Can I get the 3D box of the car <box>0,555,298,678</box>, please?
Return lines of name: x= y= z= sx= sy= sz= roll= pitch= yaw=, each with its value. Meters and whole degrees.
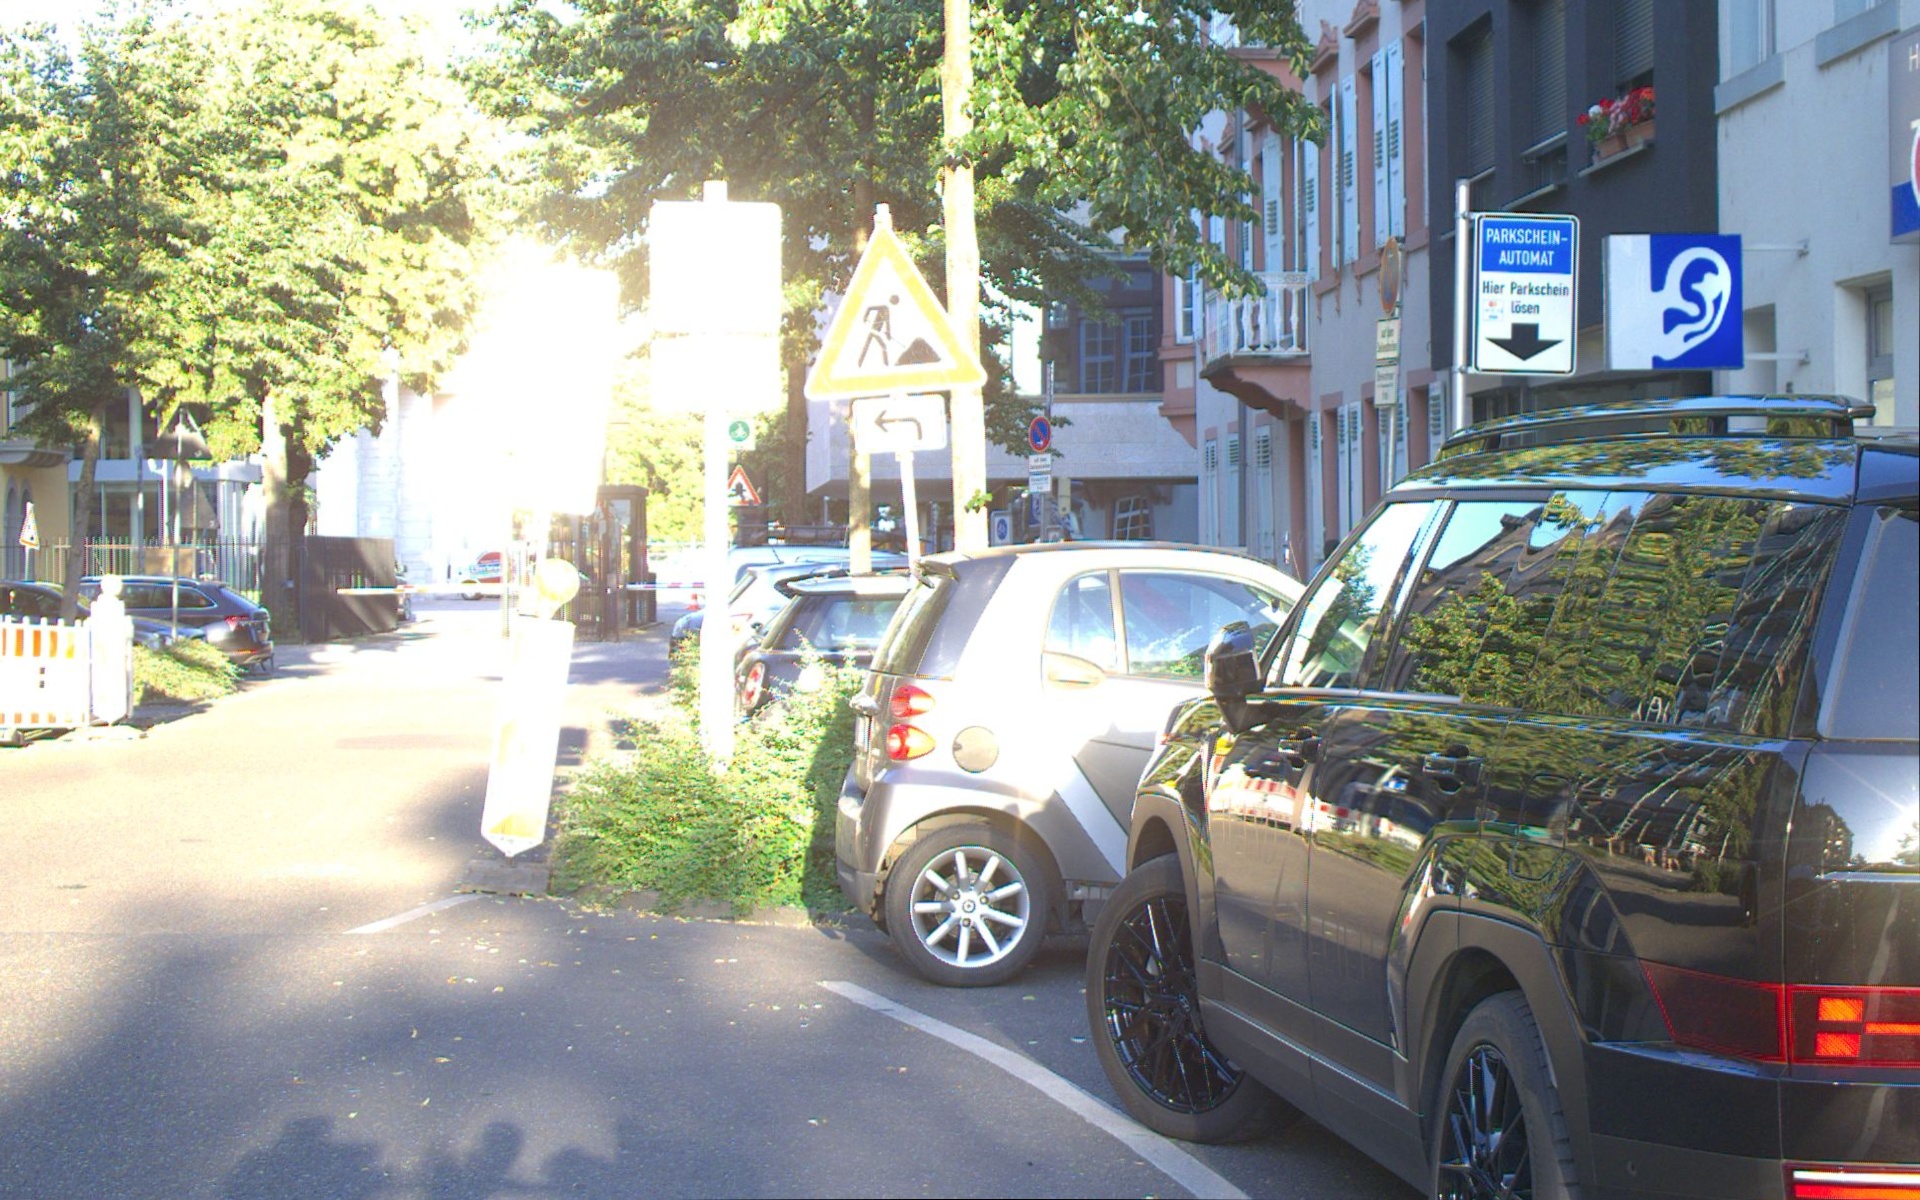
car: x=-11.468 y=0.212 z=48.228 sx=3.987 sy=1.678 sz=1.891 roll=0 pitch=1 yaw=0

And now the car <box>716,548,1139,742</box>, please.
car: x=-0.344 y=0.388 z=31.180 sx=3.684 sy=1.664 sz=1.859 roll=1 pitch=1 yaw=-5

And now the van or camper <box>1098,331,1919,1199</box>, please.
van or camper: x=1.621 y=0.506 z=6.992 sx=1.889 sy=1.801 sz=4.462 roll=0 pitch=1 yaw=-8

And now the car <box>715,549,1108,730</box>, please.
car: x=-0.520 y=0.369 z=33.487 sx=3.684 sy=1.664 sz=1.859 roll=1 pitch=1 yaw=-5

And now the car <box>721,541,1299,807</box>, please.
car: x=0.268 y=0.471 z=23.033 sx=3.684 sy=1.664 sz=1.859 roll=1 pitch=1 yaw=-5

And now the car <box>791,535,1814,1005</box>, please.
car: x=1.208 y=0.560 z=12.717 sx=3.469 sy=1.570 sz=1.508 roll=-1 pitch=1 yaw=-11

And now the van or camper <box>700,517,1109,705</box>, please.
van or camper: x=-0.667 y=0.111 z=38.575 sx=4.439 sy=1.999 sz=1.859 roll=1 pitch=1 yaw=-5

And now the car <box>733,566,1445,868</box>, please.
car: x=0.685 y=0.659 z=20.360 sx=3.994 sy=1.664 sz=1.859 roll=1 pitch=1 yaw=-5

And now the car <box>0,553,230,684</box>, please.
car: x=-11.861 y=0.229 z=45.530 sx=3.987 sy=1.678 sz=1.891 roll=0 pitch=1 yaw=0
